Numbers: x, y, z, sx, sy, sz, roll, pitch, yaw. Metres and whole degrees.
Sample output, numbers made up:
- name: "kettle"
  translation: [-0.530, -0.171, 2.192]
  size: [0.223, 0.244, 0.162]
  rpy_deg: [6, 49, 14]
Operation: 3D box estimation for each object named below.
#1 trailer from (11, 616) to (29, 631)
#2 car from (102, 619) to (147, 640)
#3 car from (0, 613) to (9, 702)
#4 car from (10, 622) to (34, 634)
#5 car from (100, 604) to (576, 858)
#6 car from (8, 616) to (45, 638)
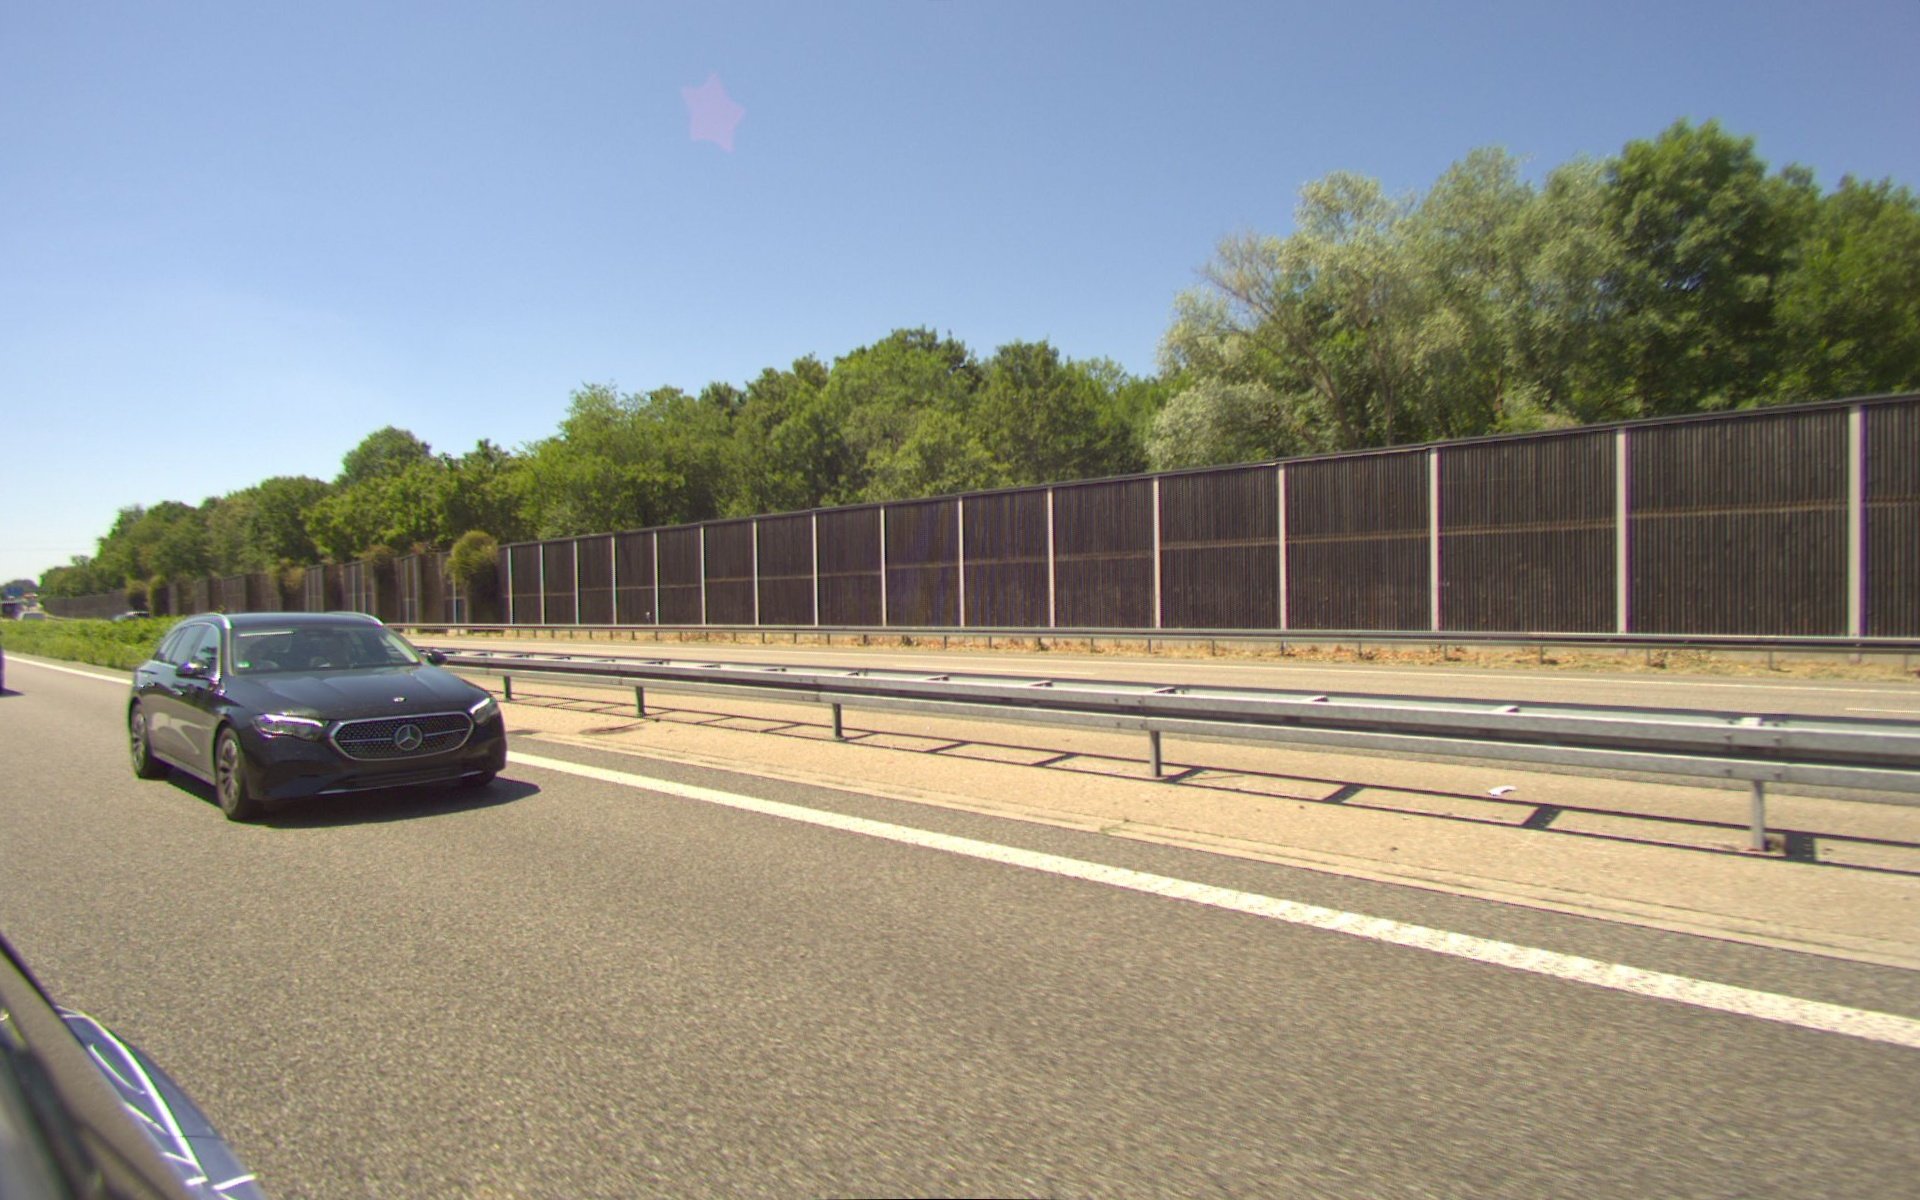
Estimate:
- name: "trailer"
  translation: [-182.432, 4.590, 196.453]
  size: [6.510, 2.797, 2.217]
  rpy_deg: [-1, -1, 44]
- name: "car"
  translation: [-68.740, 2.394, 83.253]
  size: [5.583, 1.656, 1.973]
  rpy_deg: [-1, -1, 41]
- name: "car"
  translation: [-20.530, 1.116, 19.968]
  size: [5.768, 1.637, 2.022]
  rpy_deg: [-1, -1, 41]
- name: "car"
  translation: [-137.093, 4.096, 147.928]
  size: [4.689, 1.660, 1.973]
  rpy_deg: [-1, -1, 40]
- name: "car"
  translation: [-5.683, 0.844, 8.777]
  size: [5.818, 1.518, 1.923]
  rpy_deg: [-1, -1, 42]
- name: "car"
  translation: [-89.145, 2.567, 96.620]
  size: [5.343, 2.029, 1.973]
  rpy_deg: [-1, -1, 41]
